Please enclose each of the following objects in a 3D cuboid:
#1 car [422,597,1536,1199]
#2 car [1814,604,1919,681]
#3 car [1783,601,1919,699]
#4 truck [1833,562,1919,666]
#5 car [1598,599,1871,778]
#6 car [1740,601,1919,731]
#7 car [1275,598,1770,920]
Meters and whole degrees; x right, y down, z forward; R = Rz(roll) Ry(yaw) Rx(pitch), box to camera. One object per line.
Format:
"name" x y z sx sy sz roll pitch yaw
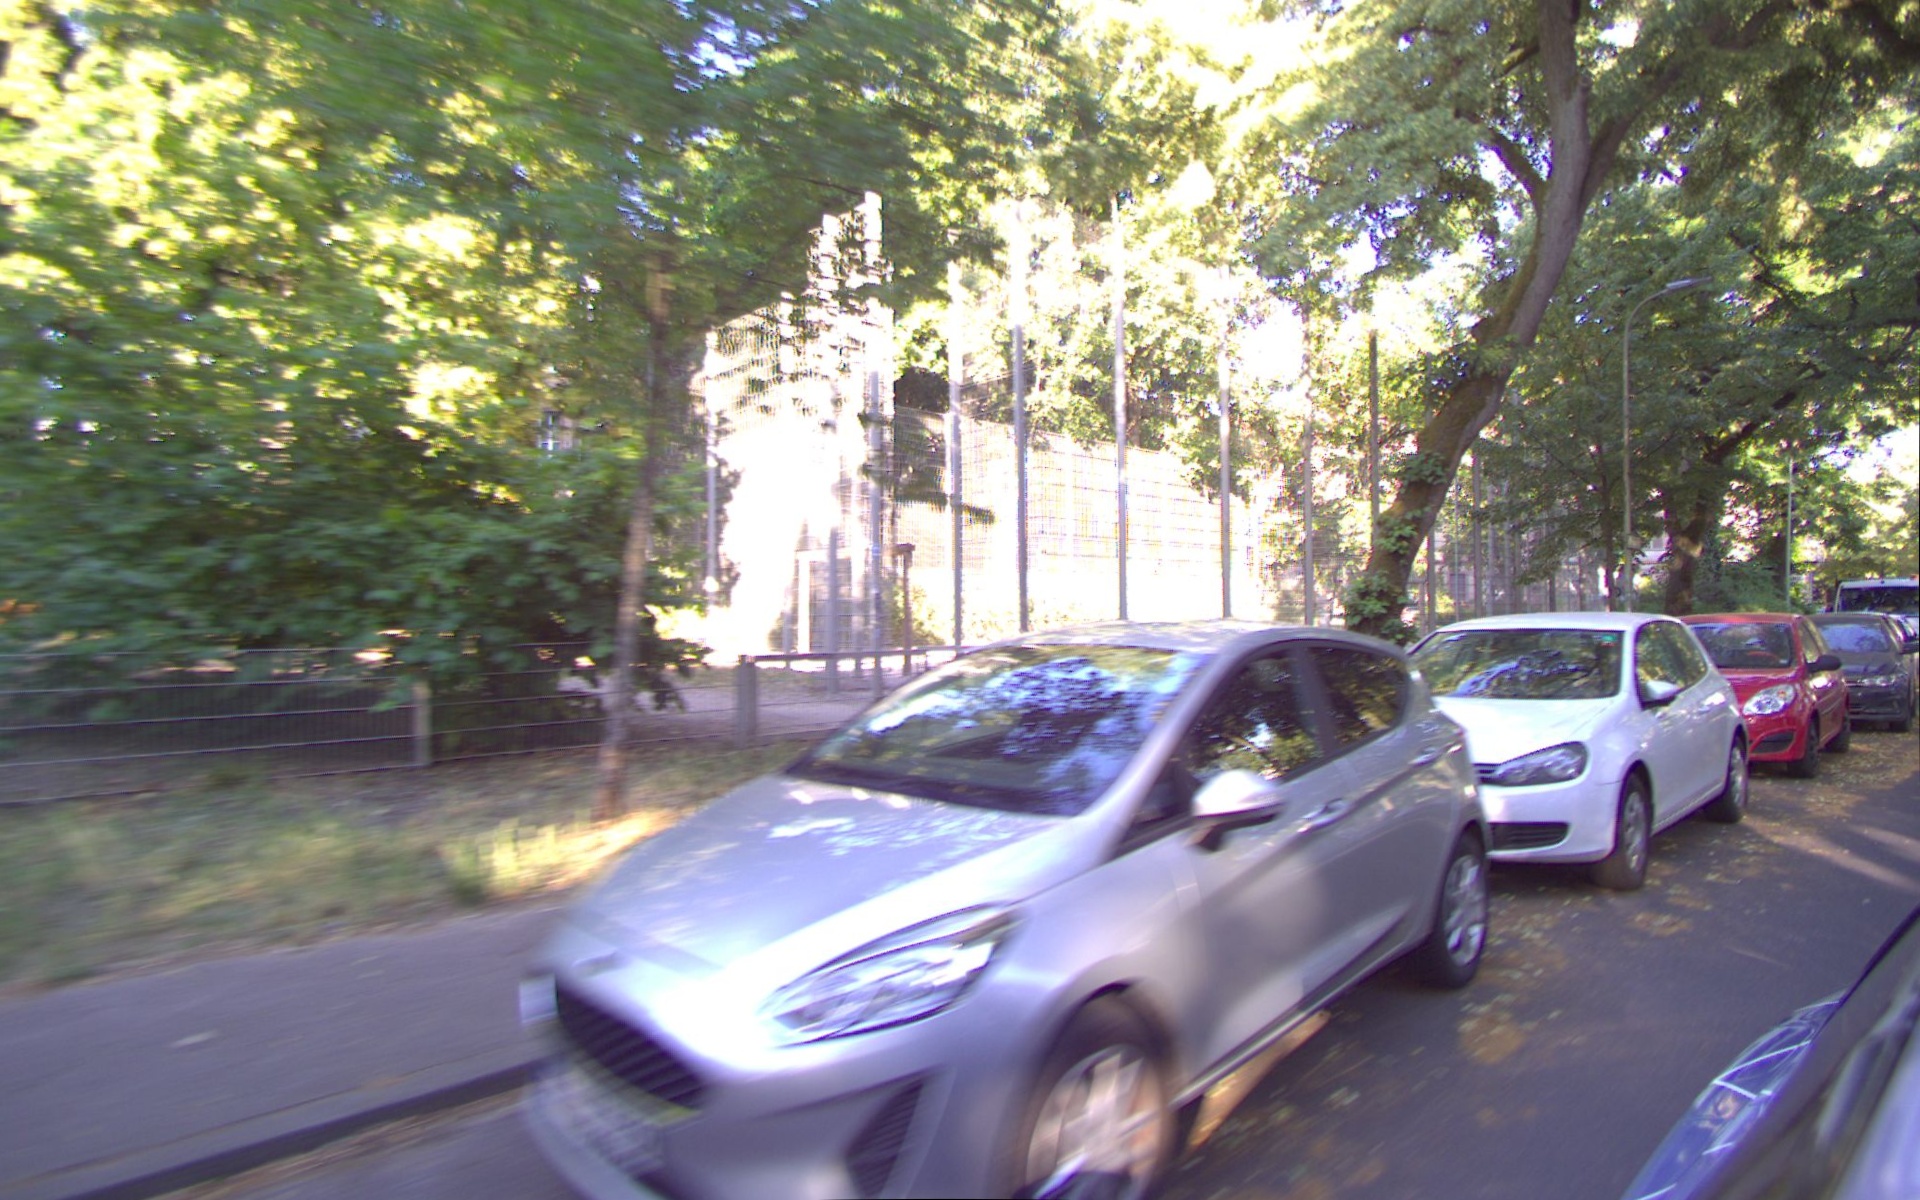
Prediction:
"car" 0.513 0.741 3.616 1.681 1.472 4.010 -1 -1 45
"car" 18.907 0.797 20.705 4.226 1.415 1.674 0 -1 -43
"car" 15.456 0.773 17.306 3.883 1.472 1.673 0 -1 -44
"truck" 24.455 0.319 26.182 6.821 2.417 2.296 0 -1 -45
"car" 7.840 0.741 10.145 3.495 1.472 1.592 0 -1 -43
"car" 11.828 0.770 13.505 3.883 1.472 1.673 0 -1 -44
"car" 3.881 0.740 6.666 4.007 1.472 1.682 0 -1 -43
